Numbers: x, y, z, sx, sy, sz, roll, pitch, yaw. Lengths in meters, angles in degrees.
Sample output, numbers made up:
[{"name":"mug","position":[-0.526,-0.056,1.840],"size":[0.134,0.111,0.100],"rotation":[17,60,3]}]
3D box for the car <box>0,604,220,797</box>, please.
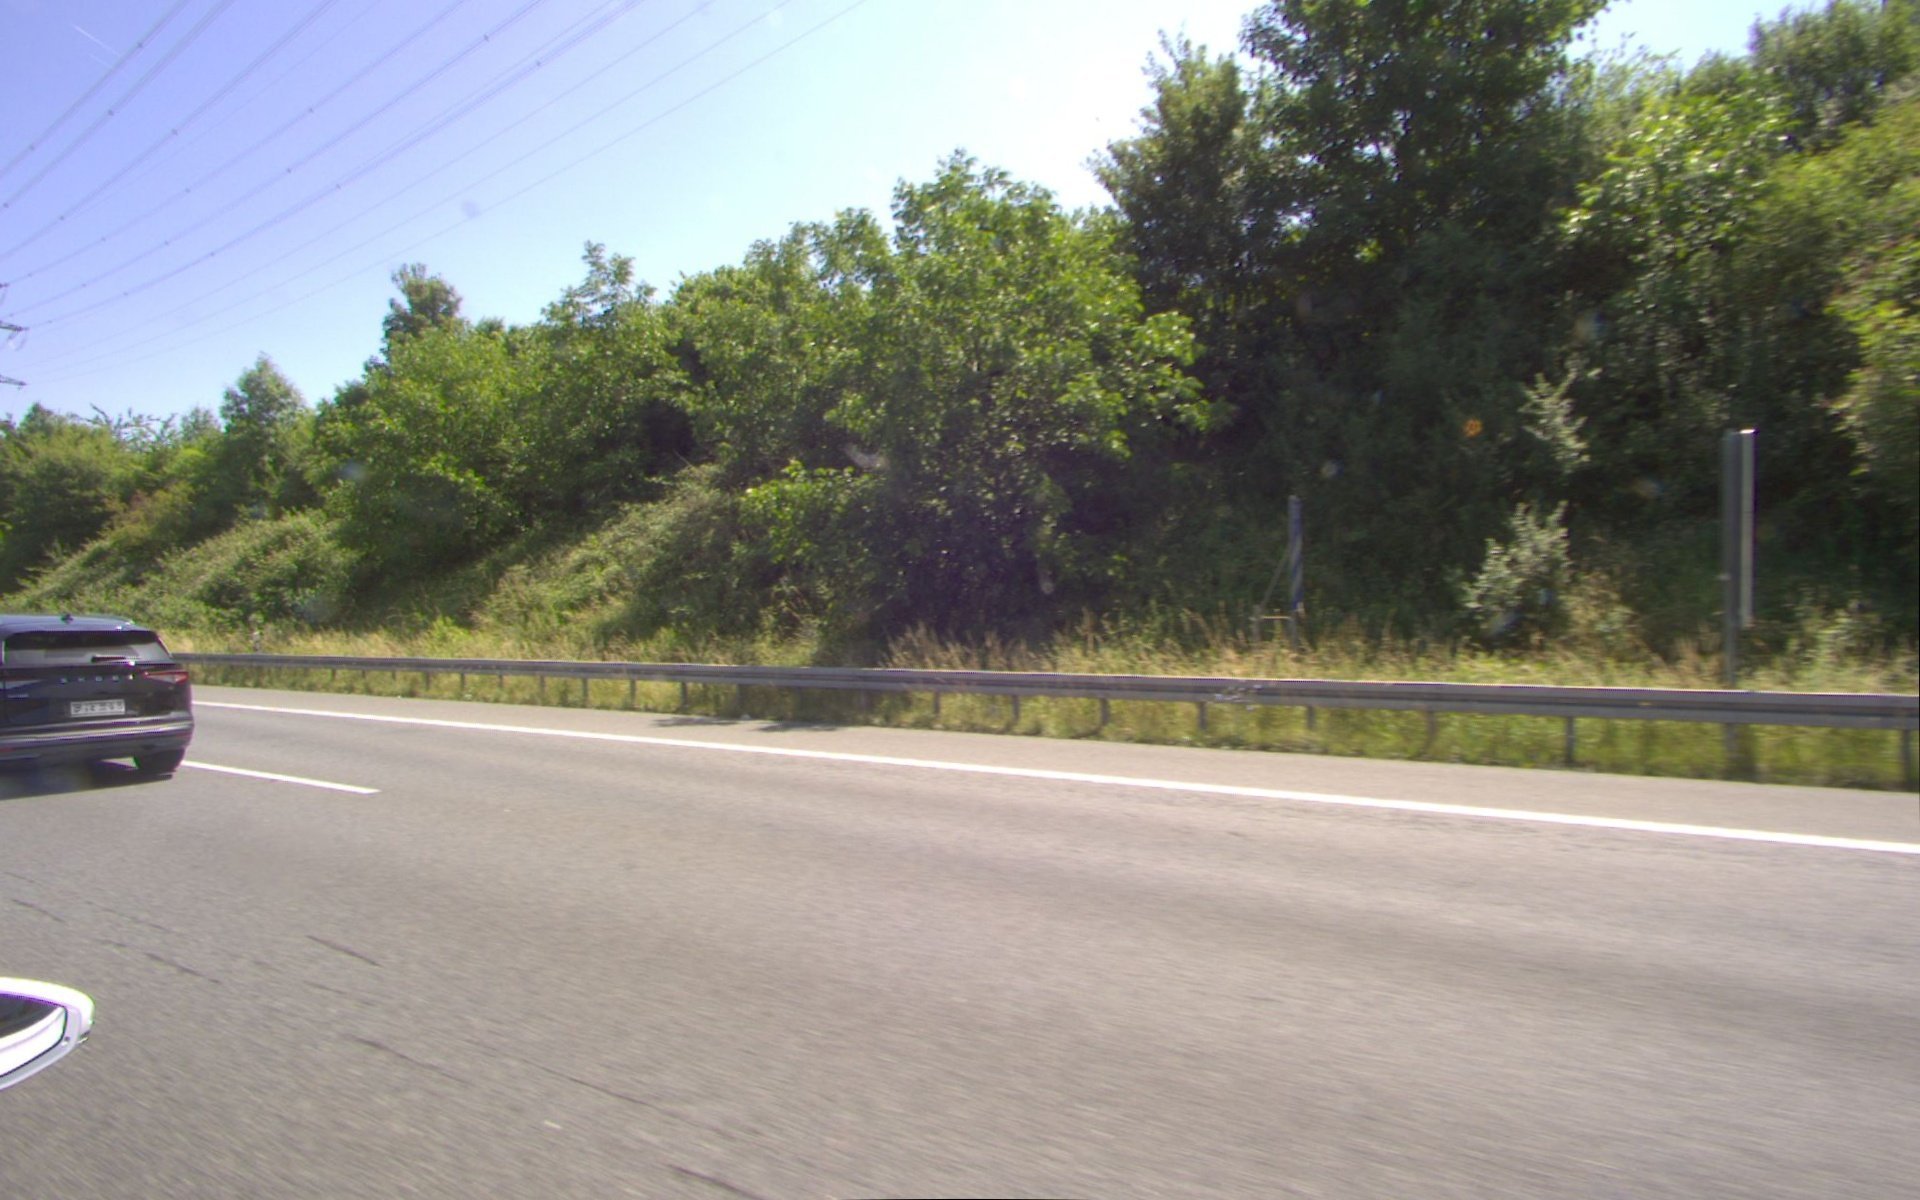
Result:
[{"name":"car","position":[-9.612,0.897,10.213],"size":[4.366,1.635,1.825],"rotation":[-1,-1,32]}]
